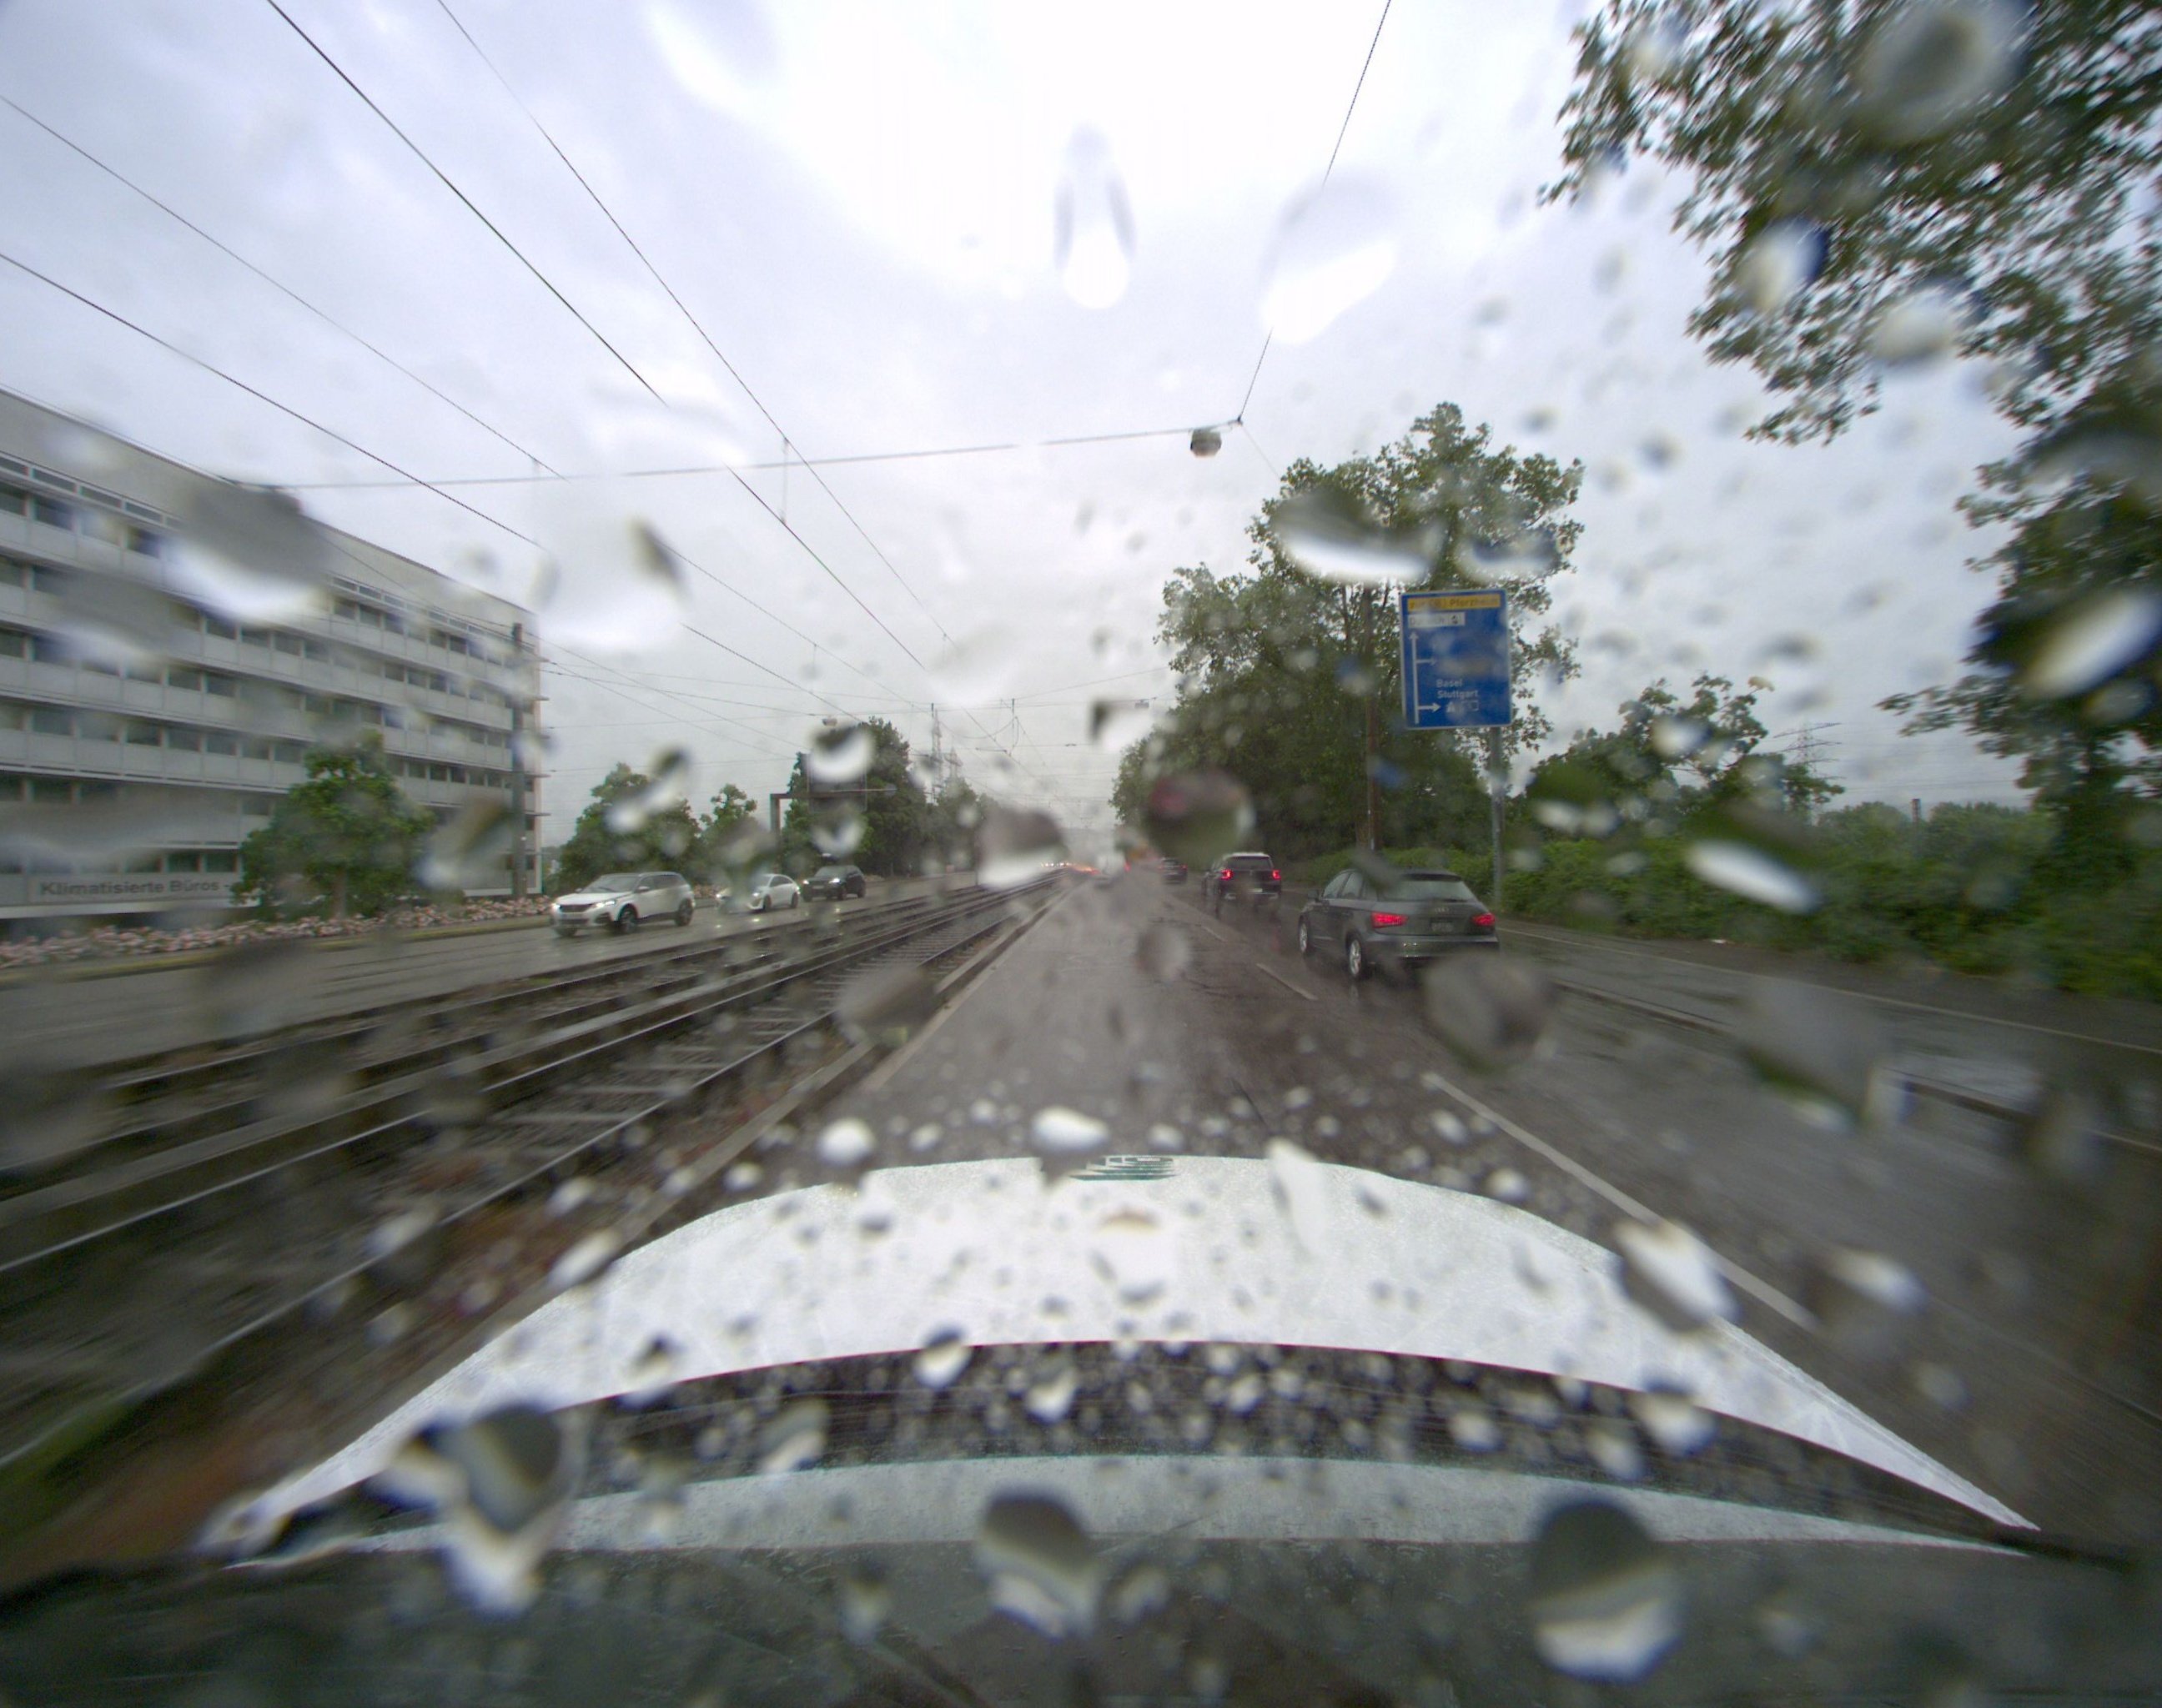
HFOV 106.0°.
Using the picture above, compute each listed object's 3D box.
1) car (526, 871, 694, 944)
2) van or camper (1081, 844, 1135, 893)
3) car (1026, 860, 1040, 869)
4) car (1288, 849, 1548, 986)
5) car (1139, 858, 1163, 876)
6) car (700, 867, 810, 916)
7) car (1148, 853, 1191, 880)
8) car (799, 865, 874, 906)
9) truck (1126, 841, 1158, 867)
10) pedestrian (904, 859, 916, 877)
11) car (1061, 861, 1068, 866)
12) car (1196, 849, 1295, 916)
[{"bbox_3d":[-12.707,1.374,22.392,1.765,1.682,4.690,1,0,1],"label":"car"},{"bbox_3d":[1.015,0.530,32.472,1.987,1.784,3.999,0,1,-1],"label":"van or camper"},{"bbox_3d":[-8.345,1.812,142.334,1.985,1.618,4.257,-2,0,4],"label":"car"},{"bbox_3d":[4.321,0.712,11.209,1.961,1.528,3.991,0,1,0],"label":"car"},{"bbox_3d":[5.683,1.046,66.229,1.811,1.414,3.781,0,1,2],"label":"car"},{"bbox_3d":[-12.439,1.376,31.437,1.984,1.583,4.771,-2,0,4],"label":"car"},{"bbox_3d":[5.004,0.695,46.377,1.815,1.414,3.773,0,1,-4],"label":"car"},{"bbox_3d":[-11.837,1.471,39.827,1.986,1.721,4.884,-2,0,2],"label":"car"},{"bbox_3d":[6.523,-0.009,87.944,3.101,2.773,6.331,-1,0,2],"label":"truck"},{"bbox_3d":[-17.046,1.353,81.307,0.848,1.759,1.121,-2,0,2],"label":"pedestrian"},{"bbox_3d":[-4.701,2.717,233.275,1.650,1.486,4.016,-1,0,3],"label":"car"},{"bbox_3d":[4.594,0.715,23.447,1.893,1.716,4.725,0,1,0],"label":"car"}]
